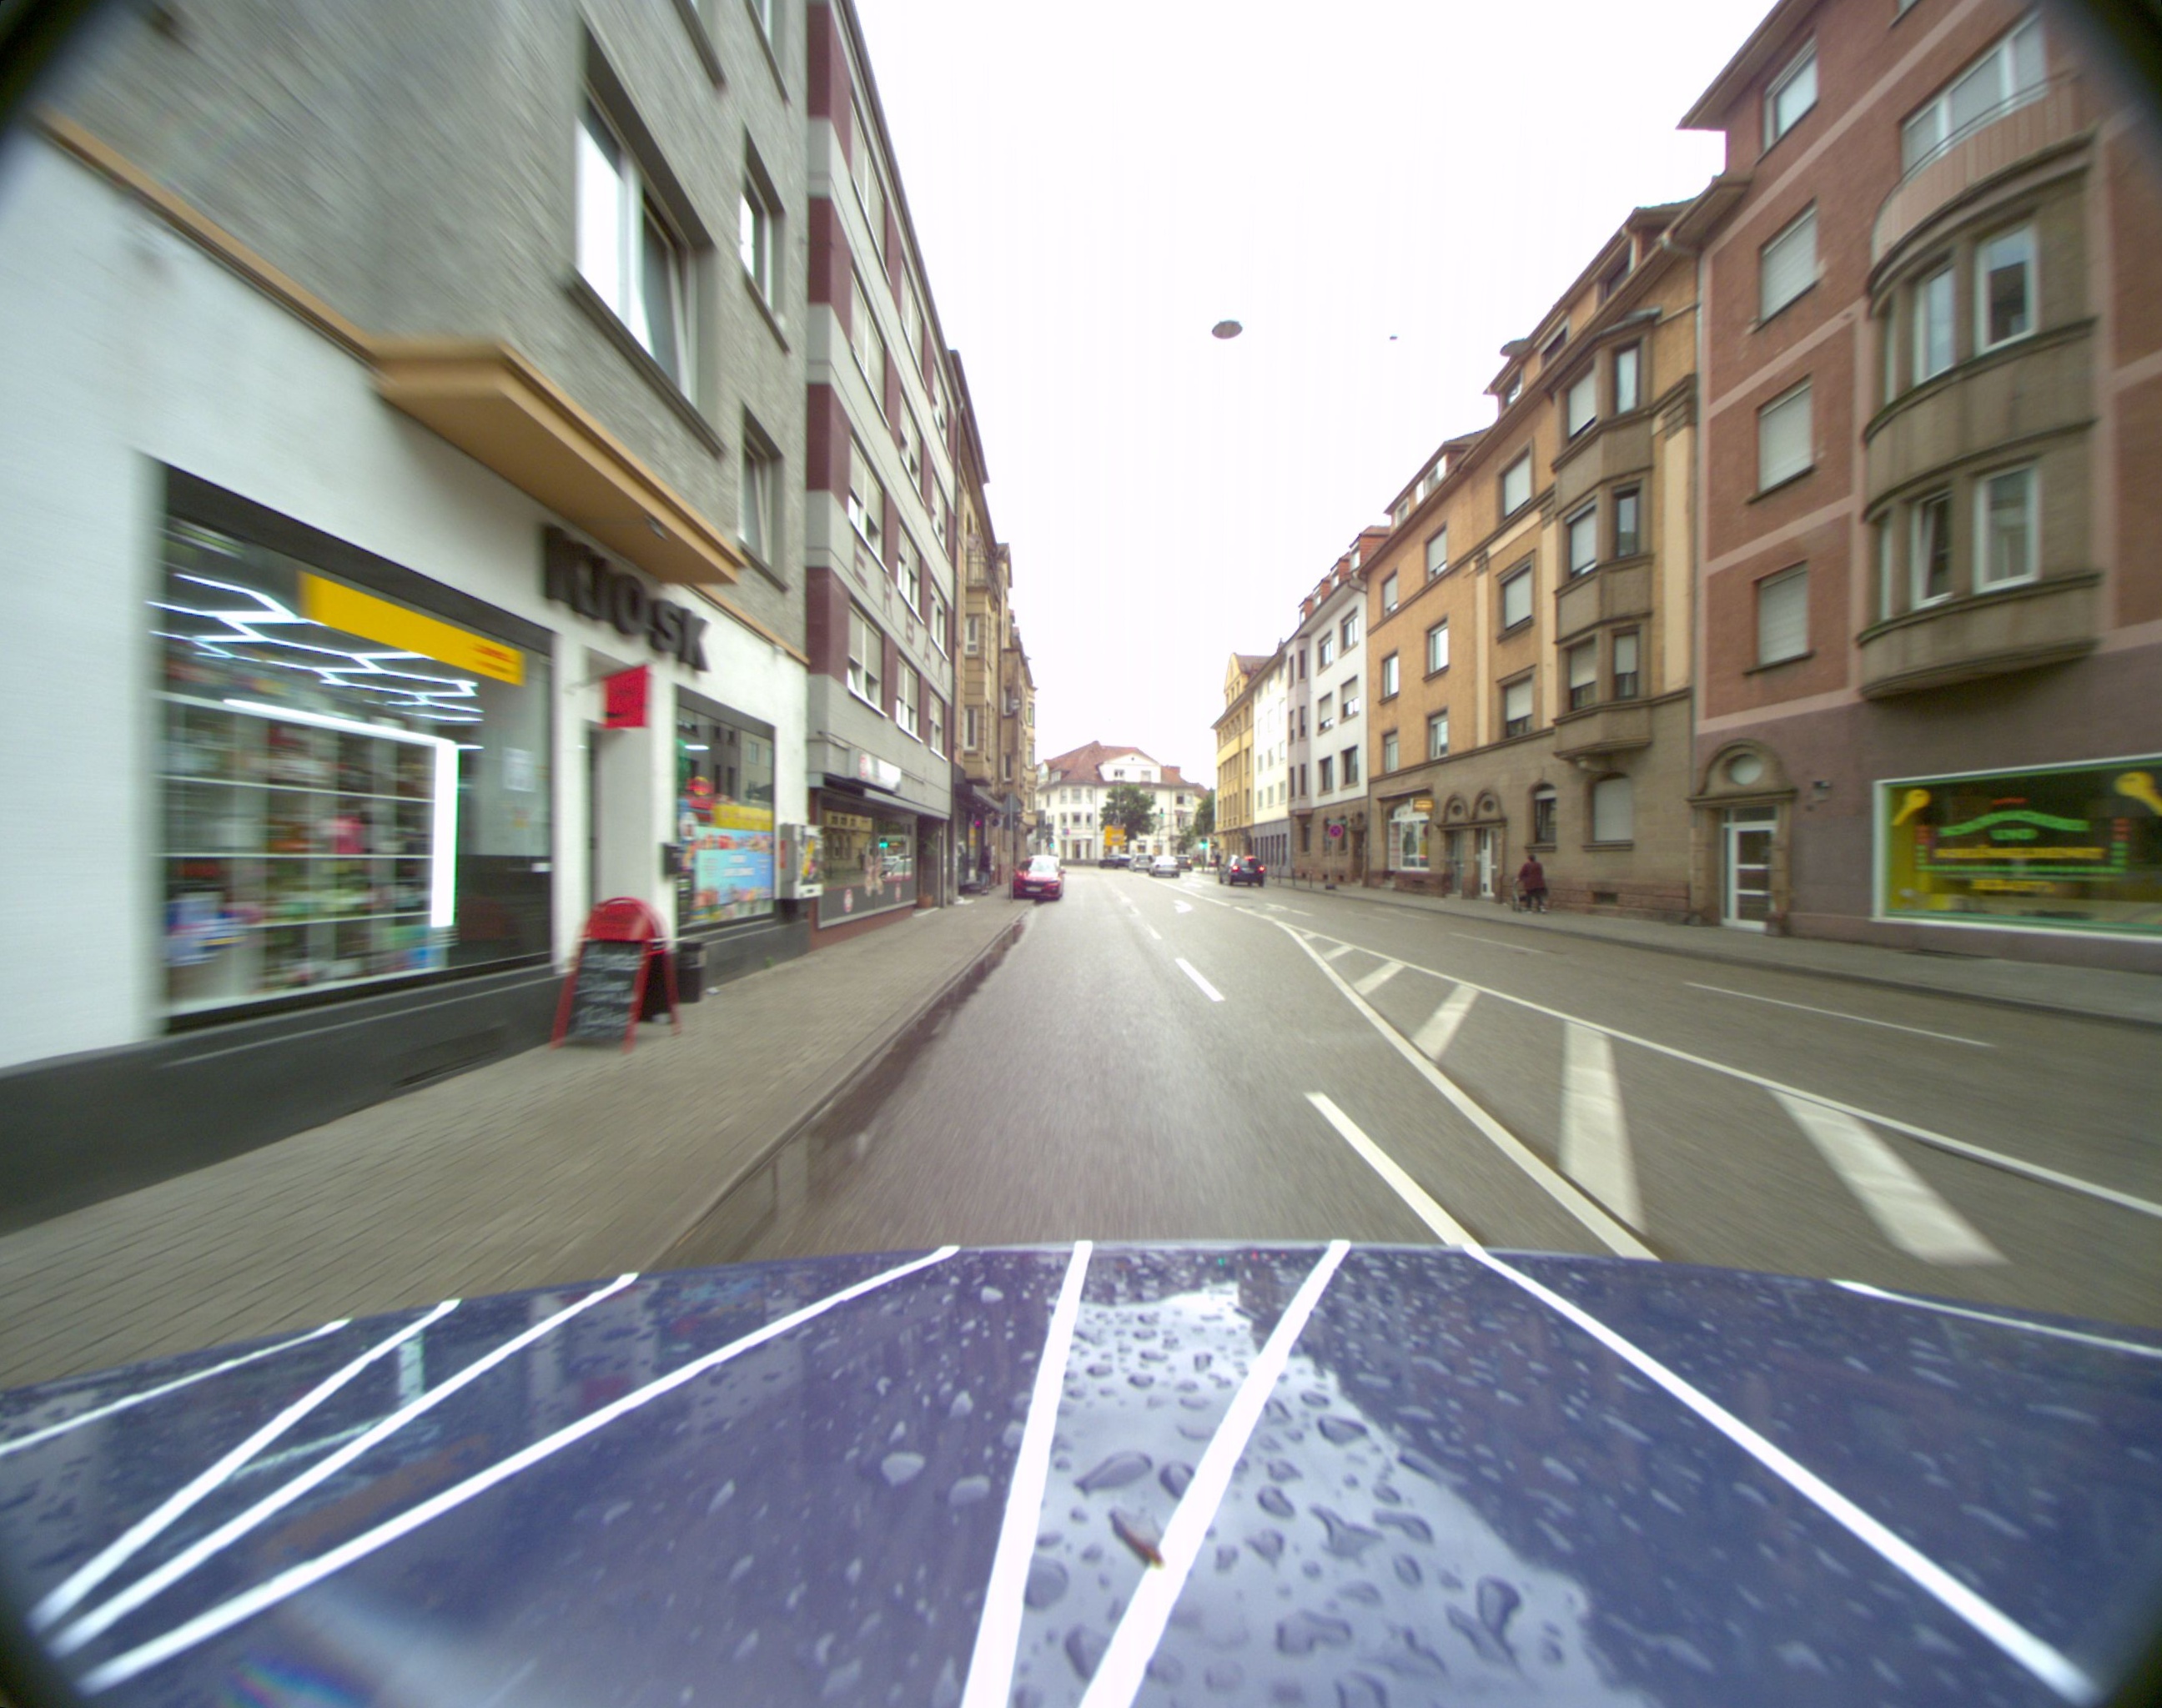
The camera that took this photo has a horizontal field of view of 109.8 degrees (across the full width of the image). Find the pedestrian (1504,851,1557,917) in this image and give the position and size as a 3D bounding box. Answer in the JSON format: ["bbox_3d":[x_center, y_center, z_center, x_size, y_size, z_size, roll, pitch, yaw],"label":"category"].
[{"bbox_3d":[11.930,0.775,20.176,0.845,1.669,0.852,-3,2,-13],"label":"pedestrian"}]

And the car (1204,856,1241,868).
[{"bbox_3d":[17.458,0.968,93.985,4.042,1.509,2.021,0,1,-19],"label":"car"}]

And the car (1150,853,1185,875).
[{"bbox_3d":[6.125,0.683,54.330,1.948,1.462,4.558,0,1,-1],"label":"car"}]

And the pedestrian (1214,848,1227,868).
[{"bbox_3d":[12.554,0.369,68.341,0.895,1.761,1.032,-4,1,-2],"label":"pedestrian"}]

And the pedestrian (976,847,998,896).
[{"bbox_3d":[-3.444,0.632,27.932,0.746,1.769,0.795,0,1,-2],"label":"pedestrian"}]

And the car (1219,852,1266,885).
[{"bbox_3d":[8.612,0.743,40.845,1.758,1.642,4.307,0,1,2],"label":"car"}]

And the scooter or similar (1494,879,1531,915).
[{"bbox_3d":[11.808,1.158,20.794,0.714,0.920,0.480,-2,2,-13],"label":"scooter or similar"}]

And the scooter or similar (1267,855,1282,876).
[{"bbox_3d":[12.163,0.722,47.771,0.462,1.206,1.578,-4,1,-1],"label":"scooter or similar"}]

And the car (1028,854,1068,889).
[{"bbox_3d":[-1.472,0.781,35.630,1.651,1.485,4.447,0,1,0],"label":"car"}]

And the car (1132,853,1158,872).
[{"bbox_3d":[5.644,0.754,67.518,1.948,1.574,4.520,0,1,0],"label":"car"}]

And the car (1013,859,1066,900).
[{"bbox_3d":[-1.477,0.892,28.323,1.748,1.361,4.314,0,0,0],"label":"car"}]

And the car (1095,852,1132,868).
[{"bbox_3d":[3.295,0.570,78.121,1.951,1.574,4.595,0,1,-23],"label":"car"}]

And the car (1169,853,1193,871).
[{"bbox_3d":[9.635,0.772,73.642,1.985,1.586,4.338,0,1,3],"label":"car"}]
